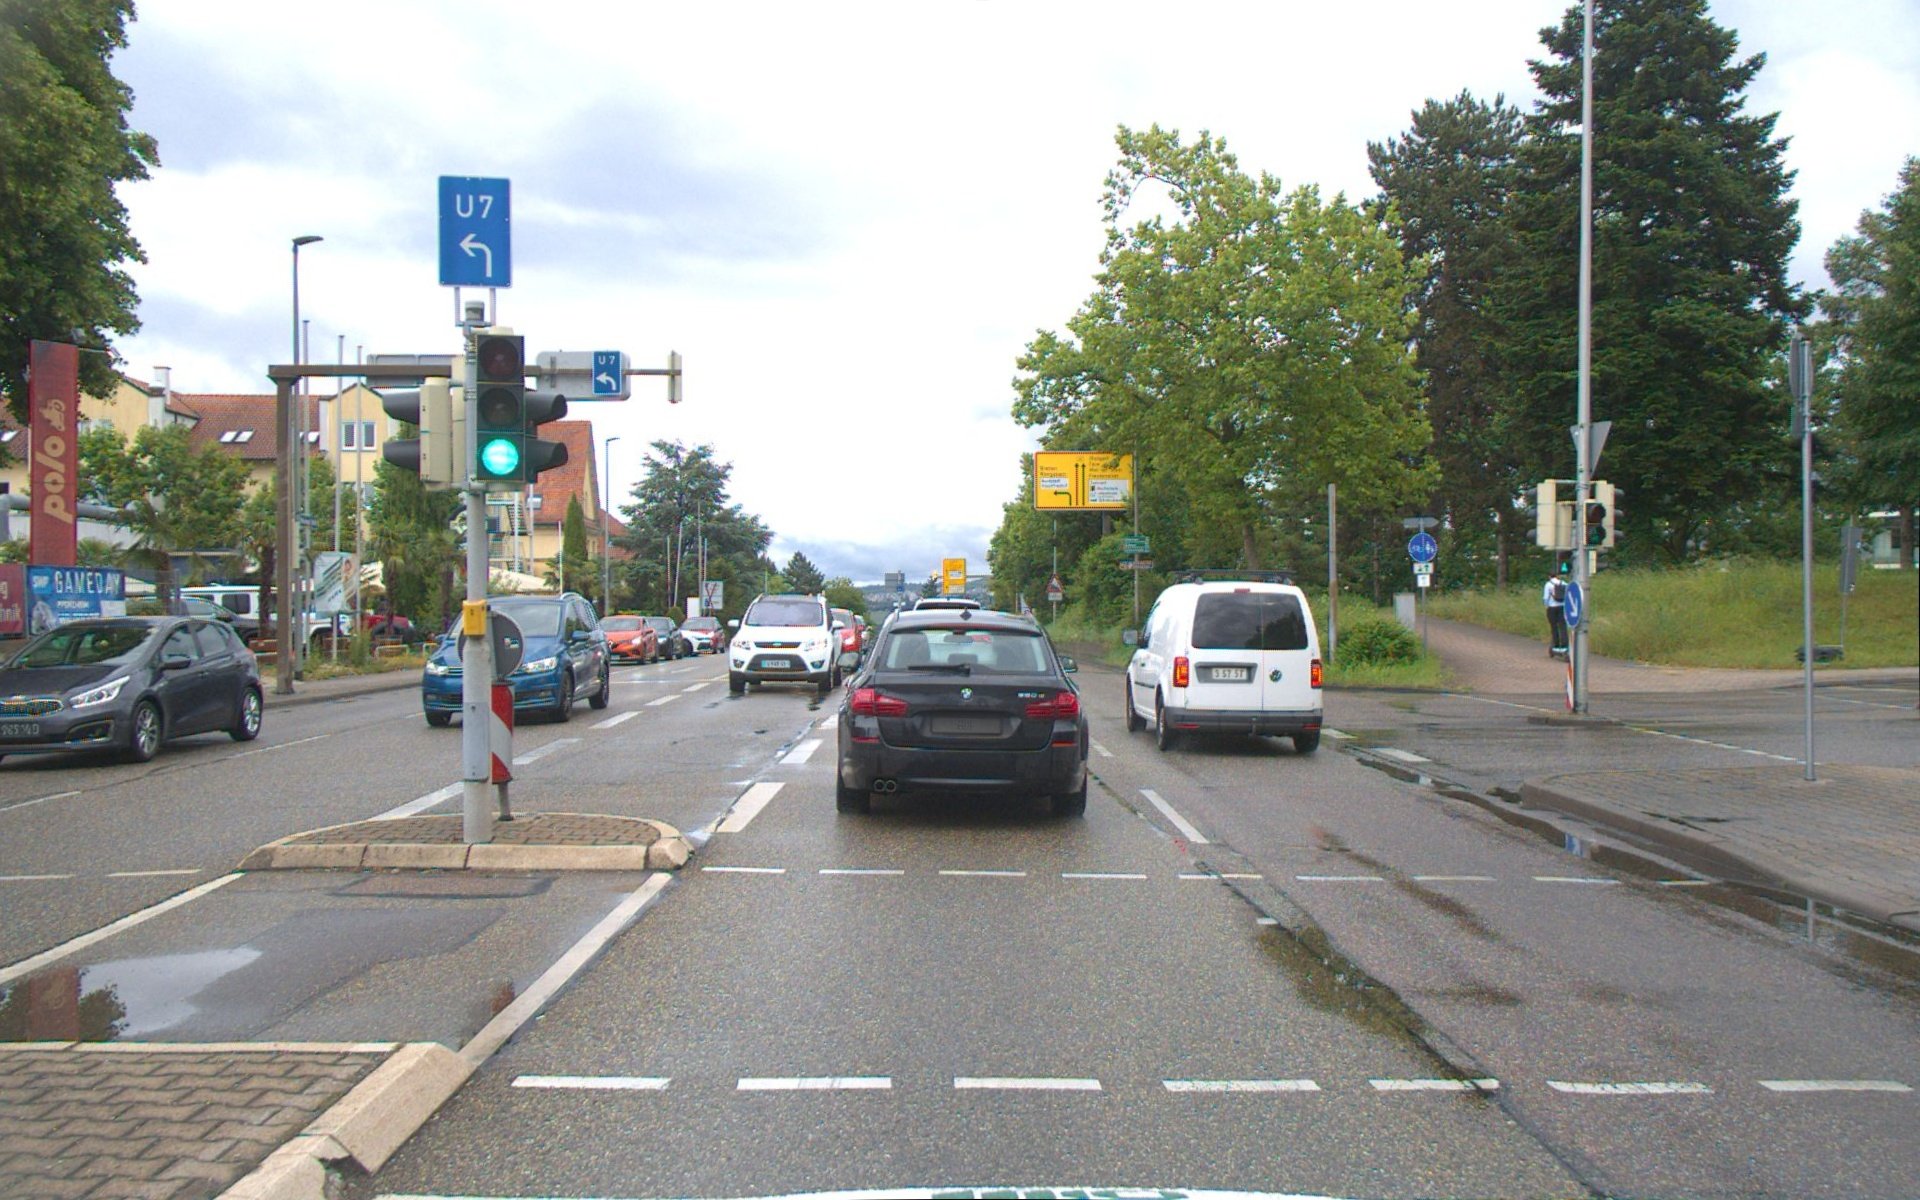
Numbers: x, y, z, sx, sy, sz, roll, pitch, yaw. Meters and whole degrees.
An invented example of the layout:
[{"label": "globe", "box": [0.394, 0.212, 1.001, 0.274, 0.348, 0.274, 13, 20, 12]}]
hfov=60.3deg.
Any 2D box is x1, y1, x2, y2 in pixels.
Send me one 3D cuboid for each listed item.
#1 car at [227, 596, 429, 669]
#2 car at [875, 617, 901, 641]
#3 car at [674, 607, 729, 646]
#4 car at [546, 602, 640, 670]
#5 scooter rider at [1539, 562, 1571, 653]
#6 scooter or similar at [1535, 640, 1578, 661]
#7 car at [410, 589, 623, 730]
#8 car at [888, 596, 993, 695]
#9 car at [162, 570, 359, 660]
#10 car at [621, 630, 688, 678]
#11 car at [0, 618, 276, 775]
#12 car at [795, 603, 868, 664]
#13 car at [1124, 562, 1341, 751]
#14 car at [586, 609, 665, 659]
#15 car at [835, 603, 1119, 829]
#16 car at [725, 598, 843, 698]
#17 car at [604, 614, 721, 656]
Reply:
[{"label": "car", "box": [-17.379, 0.883, 45.527, 4.942, 1.732, 1.980, -2, -3, -29]}, {"label": "car", "box": [-5.484, 2.189, 125.831, 1.830, 1.703, 4.000, 1, 0, -1]}, {"label": "car", "box": [-10.763, 1.082, 69.100, 1.734, 1.596, 3.999, 0, 0, -1]}, {"label": "car", "box": [-9.662, 0.913, 43.792, 1.642, 1.646, 3.999, -1, 0, -1]}, {"label": "scooter rider", "box": [13.236, 0.166, 36.799, 0.490, 2.000, 0.547, 0, 0, -1]}, {"label": "scooter or similar", "box": [13.238, 1.117, 36.739, 0.477, 0.410, 1.255, 0, 1, -1]}, {"label": "car", "box": [-5.854, 0.726, 22.379, 1.802, 1.678, 4.296, -1, 0, -2]}, {"label": "car", "box": [-0.365, 0.795, 31.347, 1.830, 1.703, 4.000, 1, 0, -1]}, {"label": "car", "box": [-17.597, 0.354, 41.626, 4.339, 2.049, 1.980, -2, 0, -30]}, {"label": "car", "box": [-10.185, 1.780, 55.366, 1.570, 1.424, 4.403, -2, 0, -3]}, {"label": "car", "box": [-9.091, 0.946, 17.687, 1.878, 1.403, 4.124, -2, 0, -1]}, {"label": "car", "box": [-3.142, 0.838, 41.149, 1.599, 1.459, 4.142, 0, -1, -2]}, {"label": "car", "box": [2.977, 0.564, 18.814, 1.729, 1.910, 3.804, 1, 0, -2]}, {"label": "car", "box": [-9.816, 0.976, 48.727, 1.590, 1.355, 3.945, -1, 0, -2]}, {"label": "car", "box": [0.095, 0.805, 12.962, 1.860, 1.467, 3.999, 1, -1, -1]}, {"label": "car", "box": [-3.102, 0.800, 29.946, 1.802, 1.678, 4.296, 0, 0, -2]}, {"label": "car", "box": [-11.001, 1.289, 61.214, 3.945, 1.503, 1.644, -1, -1, 8]}]
